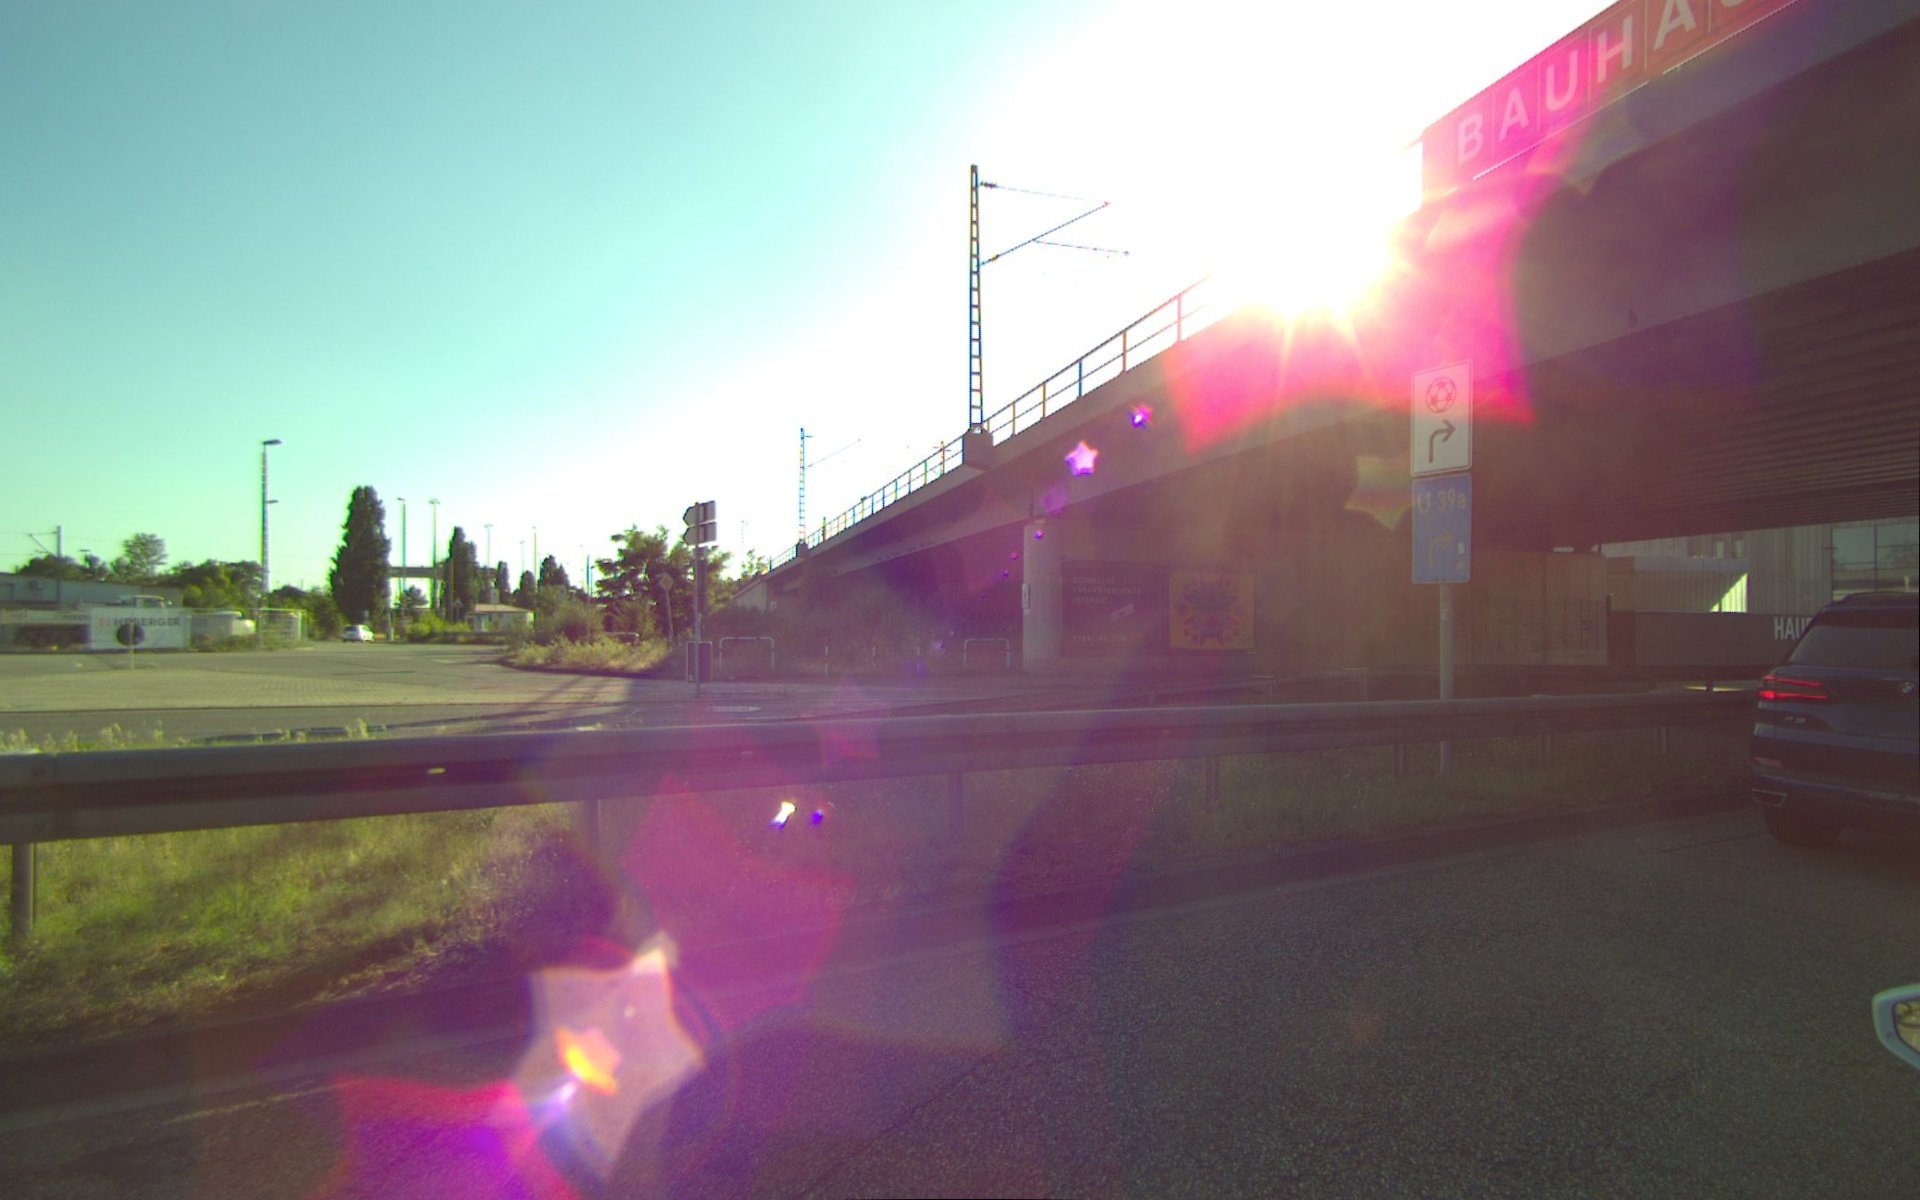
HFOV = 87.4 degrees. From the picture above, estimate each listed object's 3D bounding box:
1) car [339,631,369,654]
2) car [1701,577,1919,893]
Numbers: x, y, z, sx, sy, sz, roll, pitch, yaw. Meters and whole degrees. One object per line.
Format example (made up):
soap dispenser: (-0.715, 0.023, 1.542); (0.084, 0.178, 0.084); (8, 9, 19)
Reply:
car: (-58.307, 4.090, 96.704); (1.973, 2.040, 3.974); (2, 0, -25)
car: (7.297, 0.813, 6.713); (4.475, 1.757, 1.986); (2, 0, -27)
